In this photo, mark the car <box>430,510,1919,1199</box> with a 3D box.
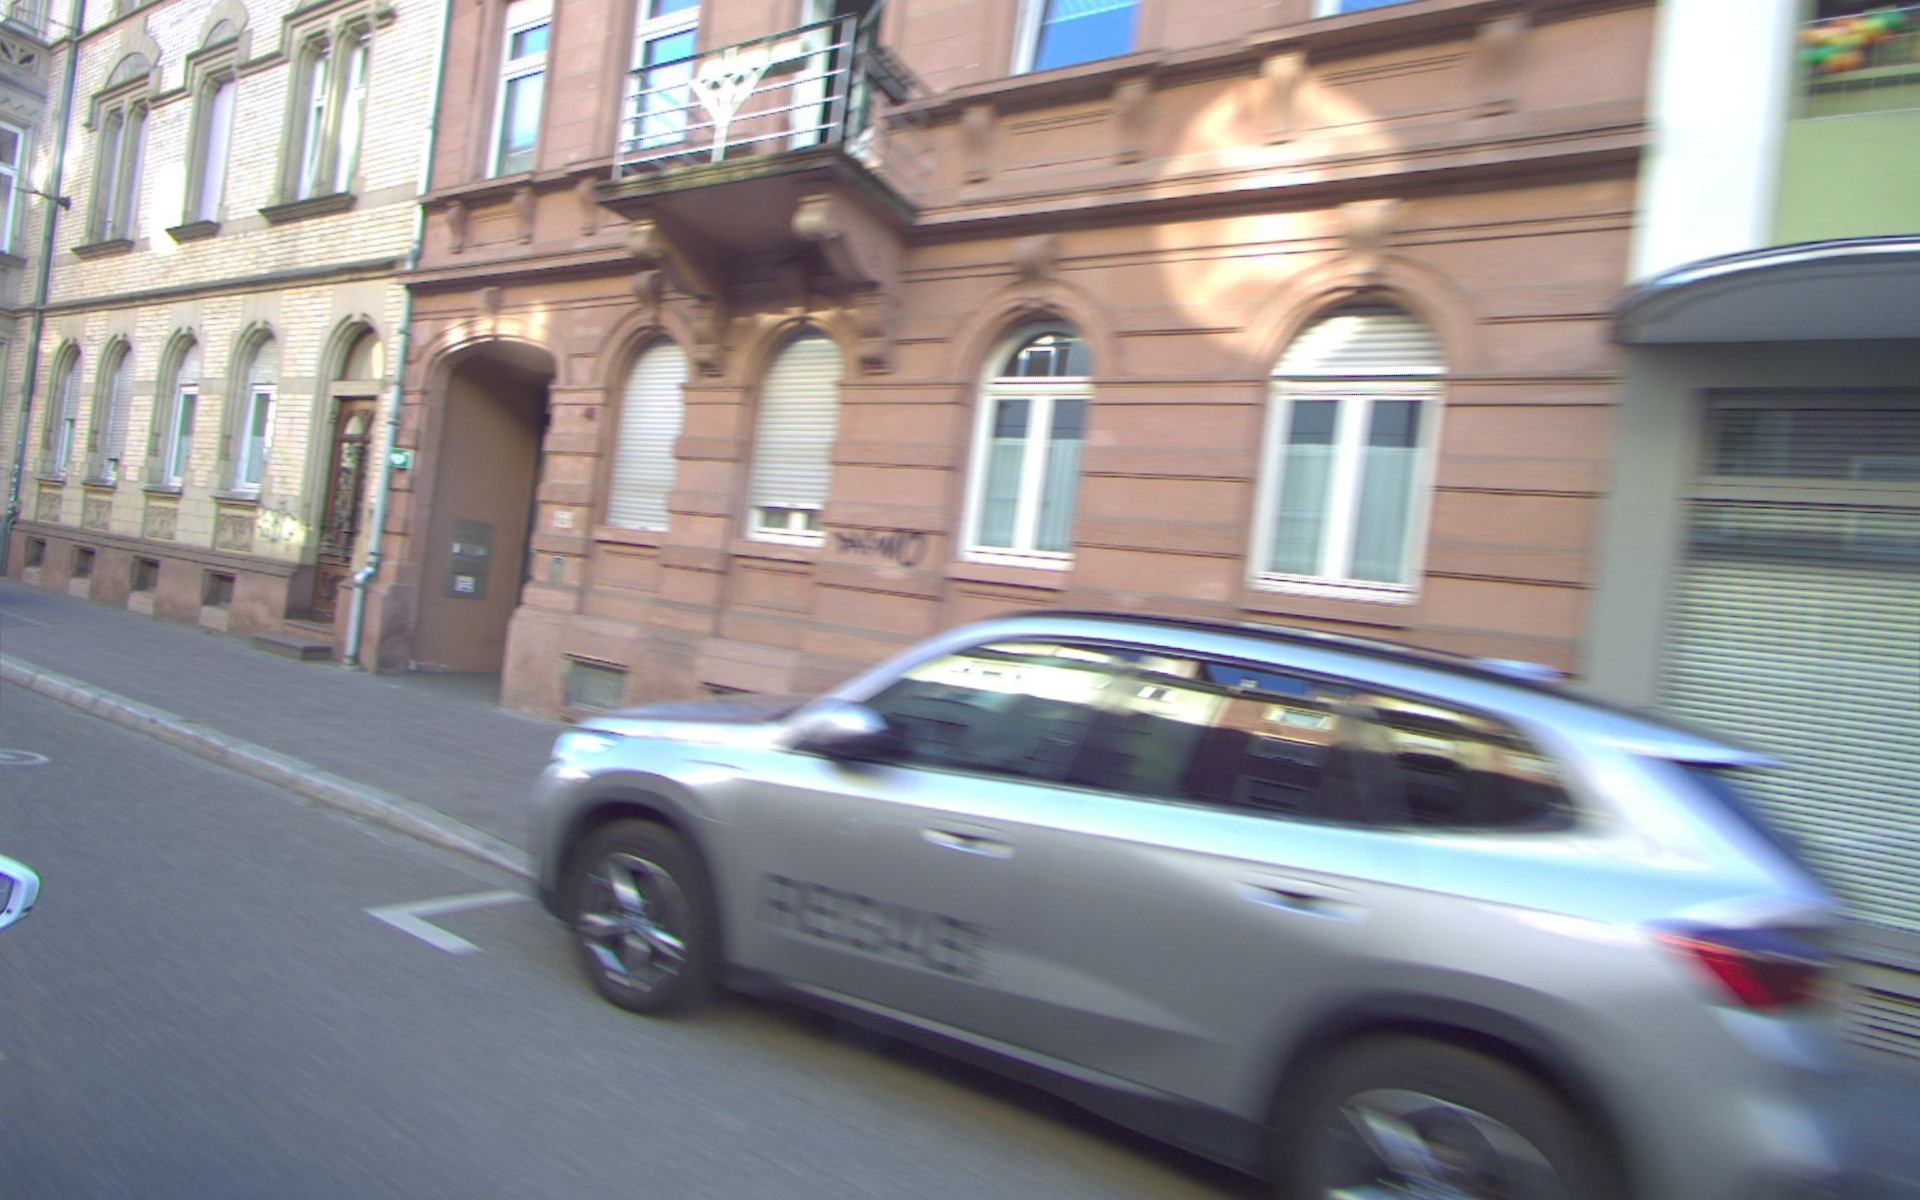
[{"bbox_3d":[0.361,0.781,3.779,4.324,1.665,1.871,6,-2,27],"label":"car"}]
